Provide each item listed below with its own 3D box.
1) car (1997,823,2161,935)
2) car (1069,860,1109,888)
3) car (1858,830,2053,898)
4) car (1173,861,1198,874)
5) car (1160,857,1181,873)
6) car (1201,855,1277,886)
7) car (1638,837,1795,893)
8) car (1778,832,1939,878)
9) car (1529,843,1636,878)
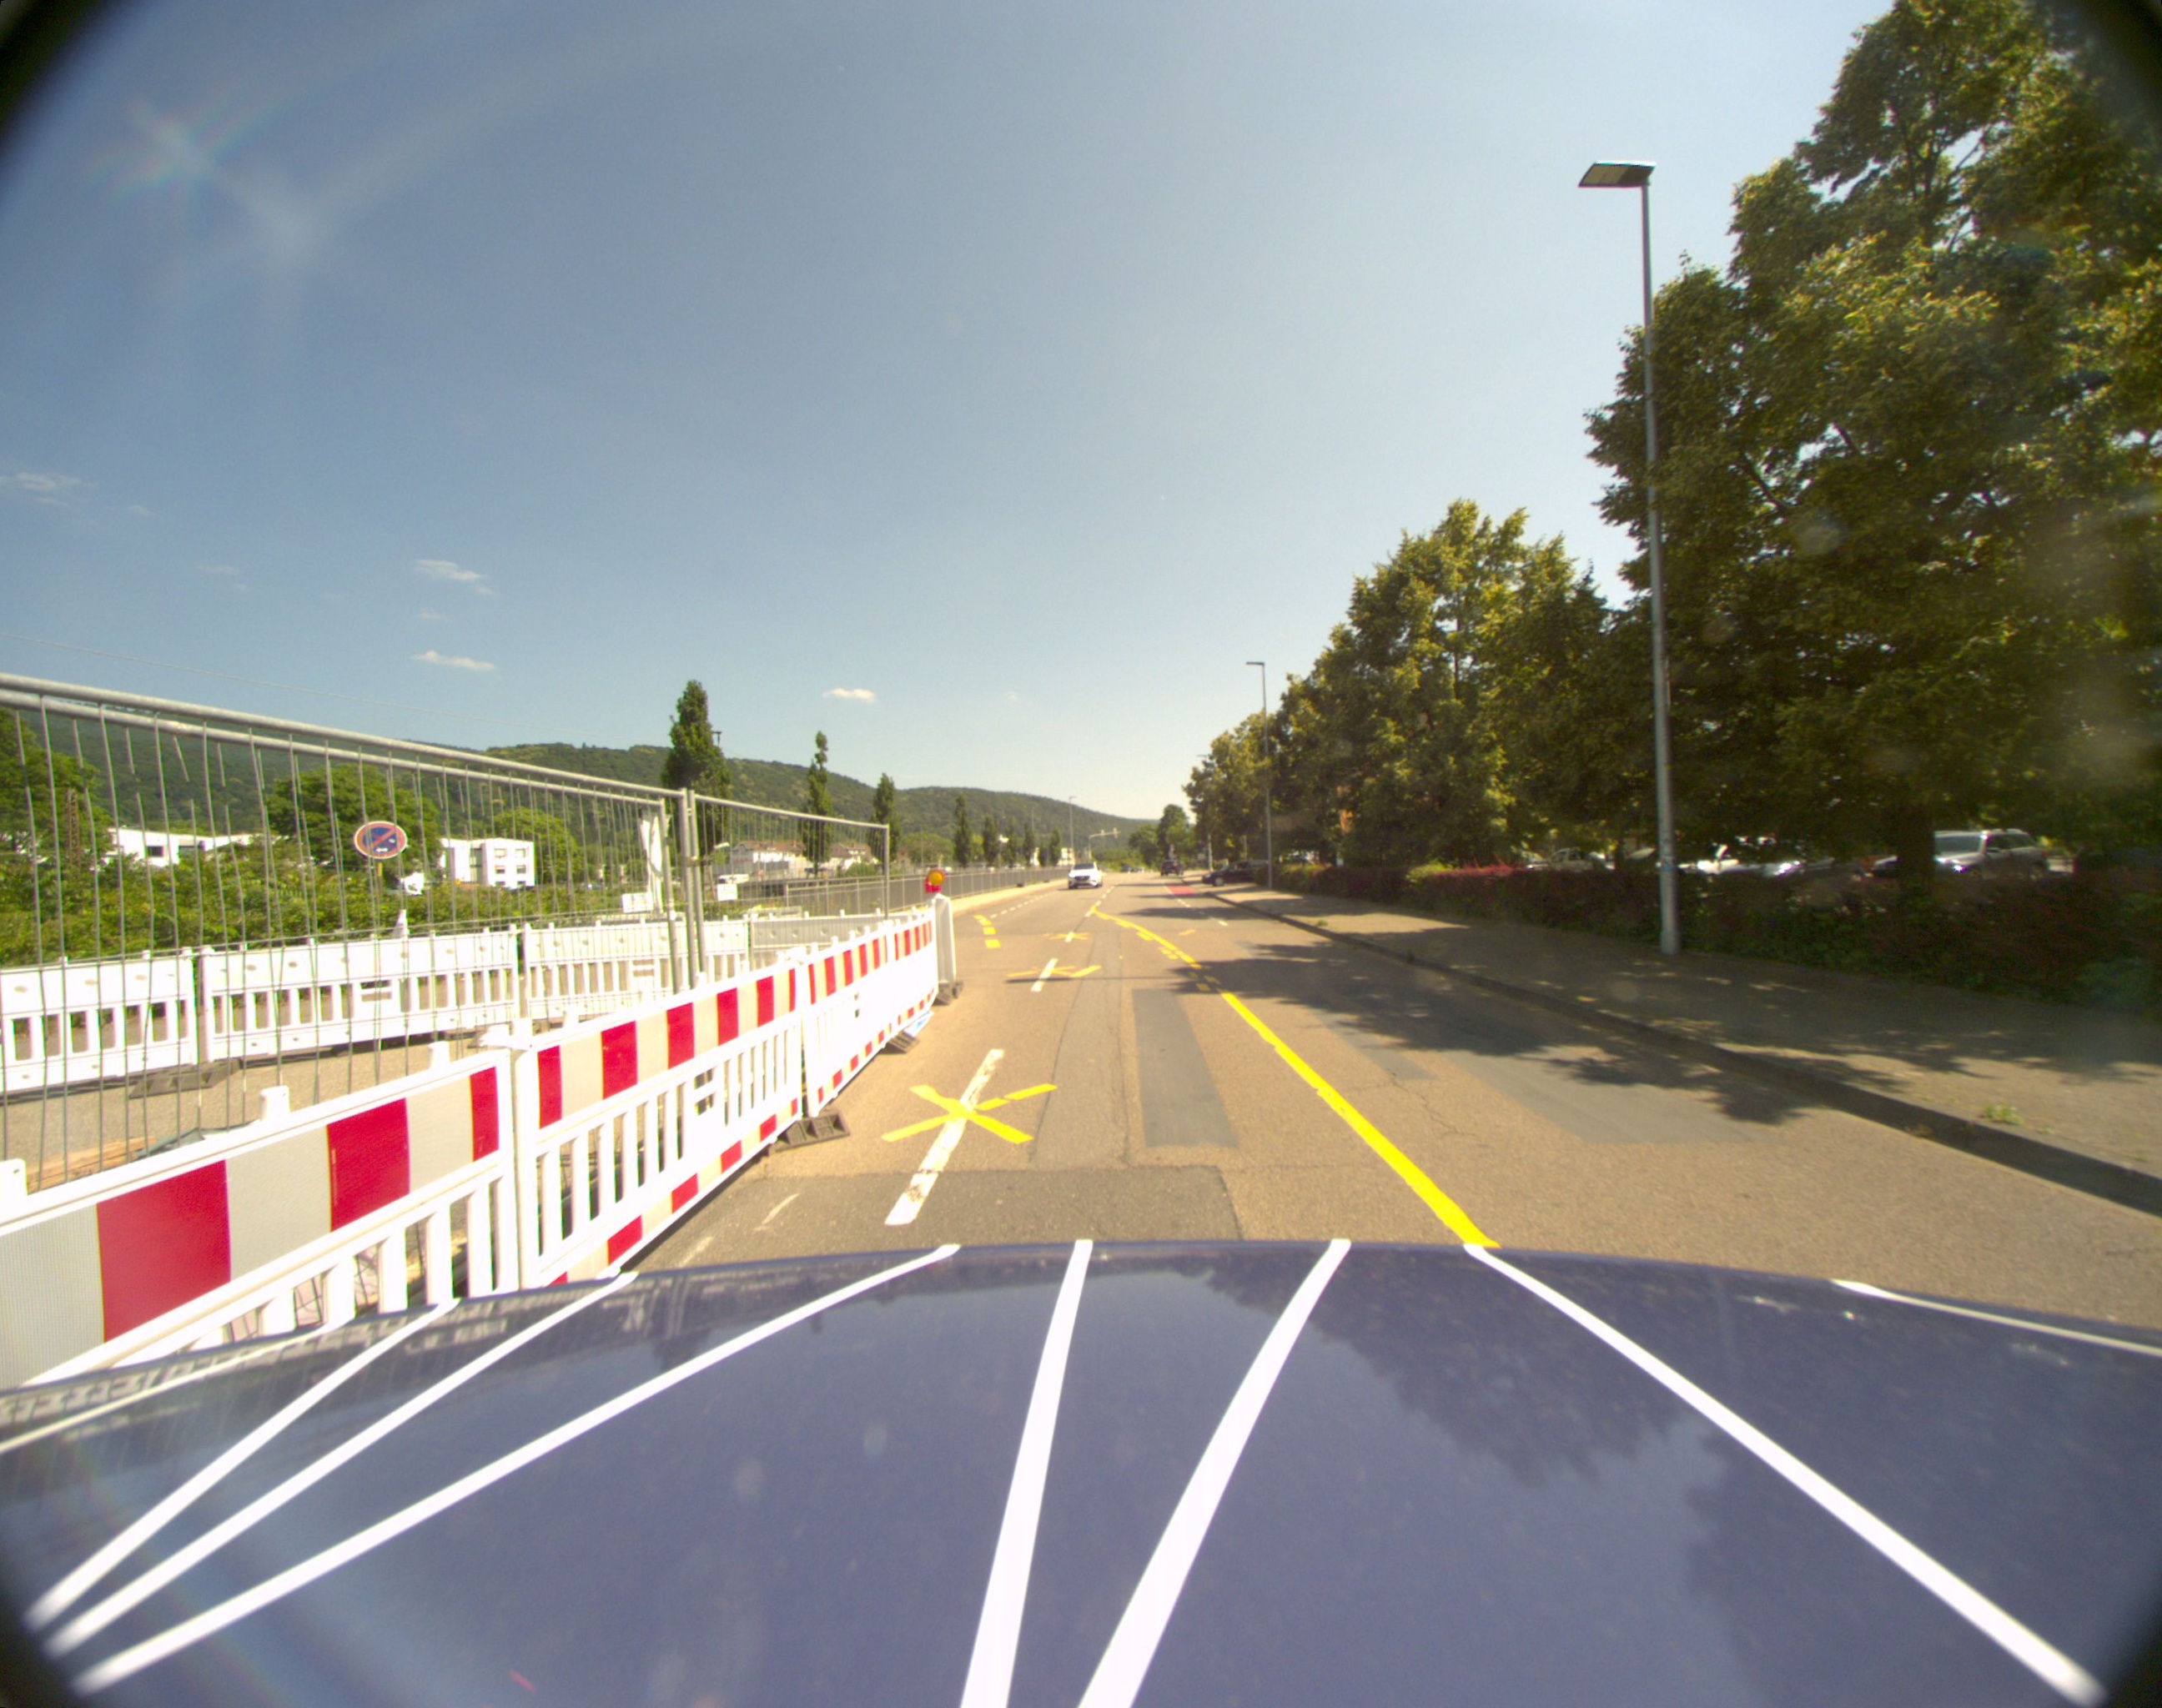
[{"bbox_3d":[17.102,0.365,11.226,1.861,1.676,4.367,0,0,-1],"label":"car"},{"bbox_3d":[0.567,1.262,49.592,1.997,1.635,5.034,-2,0,7],"label":"car"},{"bbox_3d":[24.390,0.254,21.223,4.369,1.676,1.860,-2,0,-16],"label":"car"},{"bbox_3d":[13.692,1.694,99.532,2.000,1.635,4.524,-1,0,-9],"label":"car"},{"bbox_3d":[9.415,1.117,79.903,1.997,1.635,4.531,-1,0,9],"label":"car"},{"bbox_3d":[8.942,0.921,43.229,3.995,1.455,1.881,-4,0,6],"label":"car"},{"bbox_3d":[21.369,0.340,25.597,4.314,1.676,1.860,-2,0,-15],"label":"car"},{"bbox_3d":[32.734,0.073,32.186,1.863,1.676,4.363,-4,0,-12],"label":"car"},{"bbox_3d":[24.423,0.314,37.174,1.922,1.543,4.137,-2,0,-14],"label":"car"}]
